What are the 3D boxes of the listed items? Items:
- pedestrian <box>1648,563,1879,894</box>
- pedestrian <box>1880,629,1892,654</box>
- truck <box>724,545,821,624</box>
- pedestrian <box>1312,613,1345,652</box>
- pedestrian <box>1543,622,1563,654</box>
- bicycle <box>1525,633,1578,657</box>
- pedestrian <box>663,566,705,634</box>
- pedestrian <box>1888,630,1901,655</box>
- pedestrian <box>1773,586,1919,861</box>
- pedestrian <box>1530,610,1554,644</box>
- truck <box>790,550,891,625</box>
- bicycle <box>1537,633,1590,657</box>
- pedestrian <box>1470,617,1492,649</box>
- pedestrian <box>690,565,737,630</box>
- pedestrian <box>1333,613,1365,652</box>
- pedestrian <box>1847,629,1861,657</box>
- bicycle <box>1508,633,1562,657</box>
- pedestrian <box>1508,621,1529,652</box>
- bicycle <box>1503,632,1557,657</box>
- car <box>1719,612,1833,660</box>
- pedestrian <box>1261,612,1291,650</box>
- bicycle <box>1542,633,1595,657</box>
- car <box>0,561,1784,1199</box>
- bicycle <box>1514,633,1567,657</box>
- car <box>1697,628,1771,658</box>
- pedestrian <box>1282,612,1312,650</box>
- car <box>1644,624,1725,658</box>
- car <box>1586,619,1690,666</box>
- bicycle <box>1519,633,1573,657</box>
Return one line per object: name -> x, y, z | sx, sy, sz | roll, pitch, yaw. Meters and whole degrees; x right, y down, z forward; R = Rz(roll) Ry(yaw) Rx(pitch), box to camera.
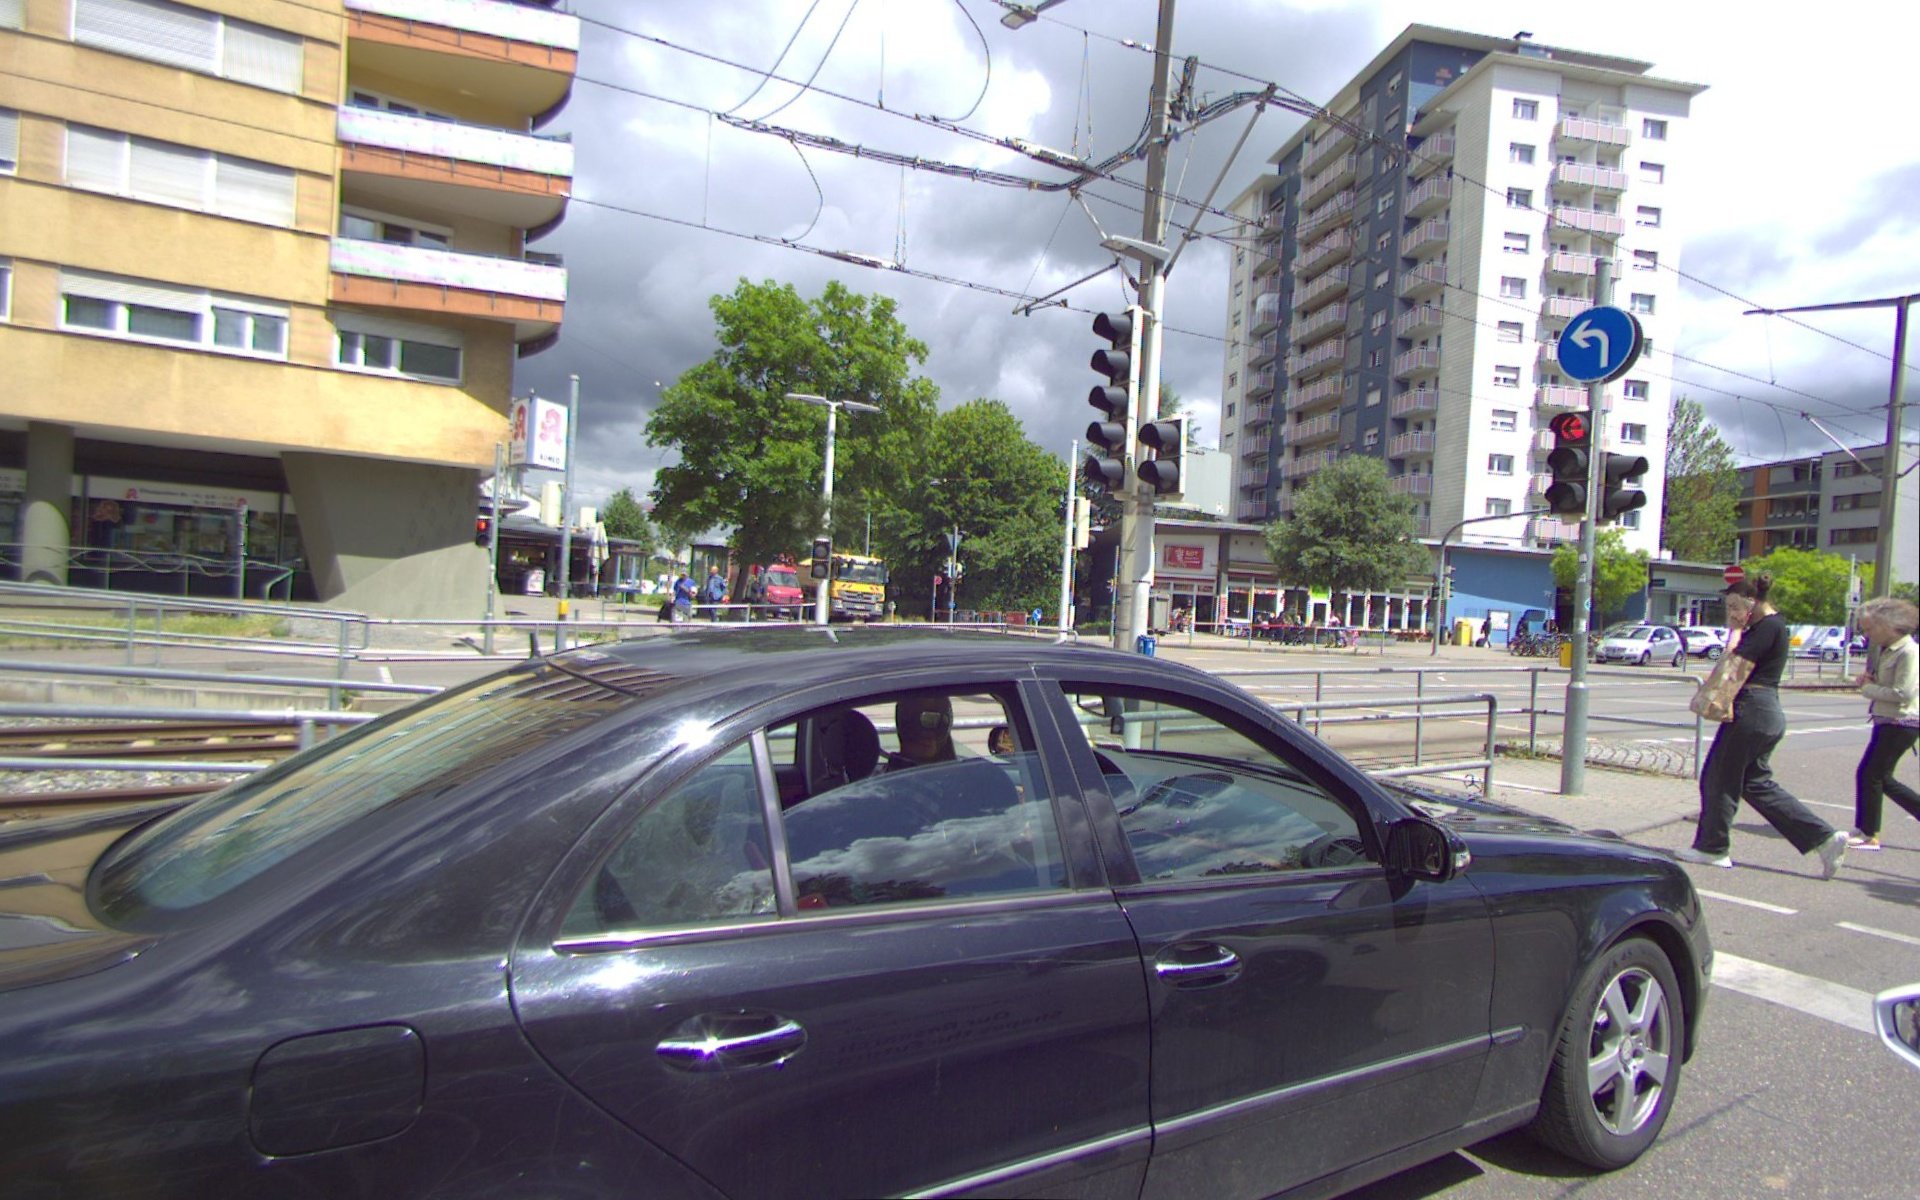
pedestrian -> 4.806, 0.691, 6.025 | 0.766, 1.789, 0.925 | 1, 1, -41
pedestrian -> 64.804, 2.892, 70.298 | 0.401, 1.739, 0.542 | 1, 0, -39
truck -> -9.027, -0.689, 47.445 | 2.692, 3.320, 8.876 | 2, 0, -23
pedestrian -> 16.339, 1.415, 44.571 | 1.077, 1.681, 0.948 | 2, -1, 1
pedestrian -> 31.273, 2.011, 52.970 | 0.693, 1.637, 0.759 | 1, 0, -44
bicycle -> 25.599, 1.940, 43.484 | 0.490, 0.947, 1.933 | 2, 0, -35
pedestrian -> -6.940, -0.015, 25.260 | 0.750, 1.638, 0.780 | 2, 4, 7
pedestrian -> 64.332, 2.919, 69.121 | 0.663, 1.739, 0.542 | 1, 0, -40
pedestrian -> 6.250, 0.777, 6.706 | 0.856, 1.696, 0.953 | 1, -1, -15
pedestrian -> 34.396, 1.583, 59.351 | 1.204, 1.942, 0.858 | 1, 1, -39
truck -> -5.842, -0.560, 47.972 | 2.733, 3.244, 7.442 | 2, 0, -23
bicycle -> 26.208, 1.961, 43.648 | 0.490, 0.947, 1.933 | 2, 0, -35
pedestrian -> 27.280, 1.705, 52.584 | 0.693, 1.637, 0.760 | 1, 0, -42
pedestrian -> -6.643, -0.063, 27.072 | 0.750, 1.636, 0.780 | 7, 1, 17
pedestrian -> 17.457, 1.454, 45.106 | 1.077, 1.681, 0.948 | 2, -1, 1
pedestrian -> 56.607, 2.692, 63.603 | 0.400, 1.739, 0.544 | 1, 0, -30
bicycle -> 24.389, 1.896, 42.628 | 0.490, 0.947, 1.933 | 2, 0, -35
pedestrian -> 29.857, 1.953, 53.701 | 0.693, 1.637, 0.760 | 1, 0, -43
bicycle -> 24.012, 1.882, 42.359 | 0.490, 0.947, 1.933 | 2, 0, -35
car -> 47.510, 2.015, 58.740 | 2.776, 2.511, 6.724 | 2, 0, 17
pedestrian -> 14.371, 1.386, 45.760 | 0.977, 1.681, 0.969 | 2, -1, -4
bicycle -> 26.597, 1.975, 43.947 | 0.490, 0.947, 1.933 | 2, 0, -35
car -> 0.105, 0.736, 2.636 | 4.491, 1.481, 1.720 | 2, 0, -30
bicycle -> 24.798, 1.911, 42.918 | 0.490, 0.947, 1.933 | 2, 0, -35
car -> 43.167, 2.377, 56.143 | 1.754, 1.439, 4.219 | 2, 0, 15
pedestrian -> 15.452, 1.422, 46.030 | 0.977, 1.681, 0.969 | 2, -1, -4
car -> 37.901, 2.099, 52.669 | 1.921, 1.591, 4.220 | 2, 0, 13
car -> 26.902, 1.690, 39.863 | 3.827, 1.715, 1.928 | 2, 0, -30
bicycle -> 25.184, 1.925, 43.192 | 0.490, 0.947, 1.933 | 2, 0, -35
